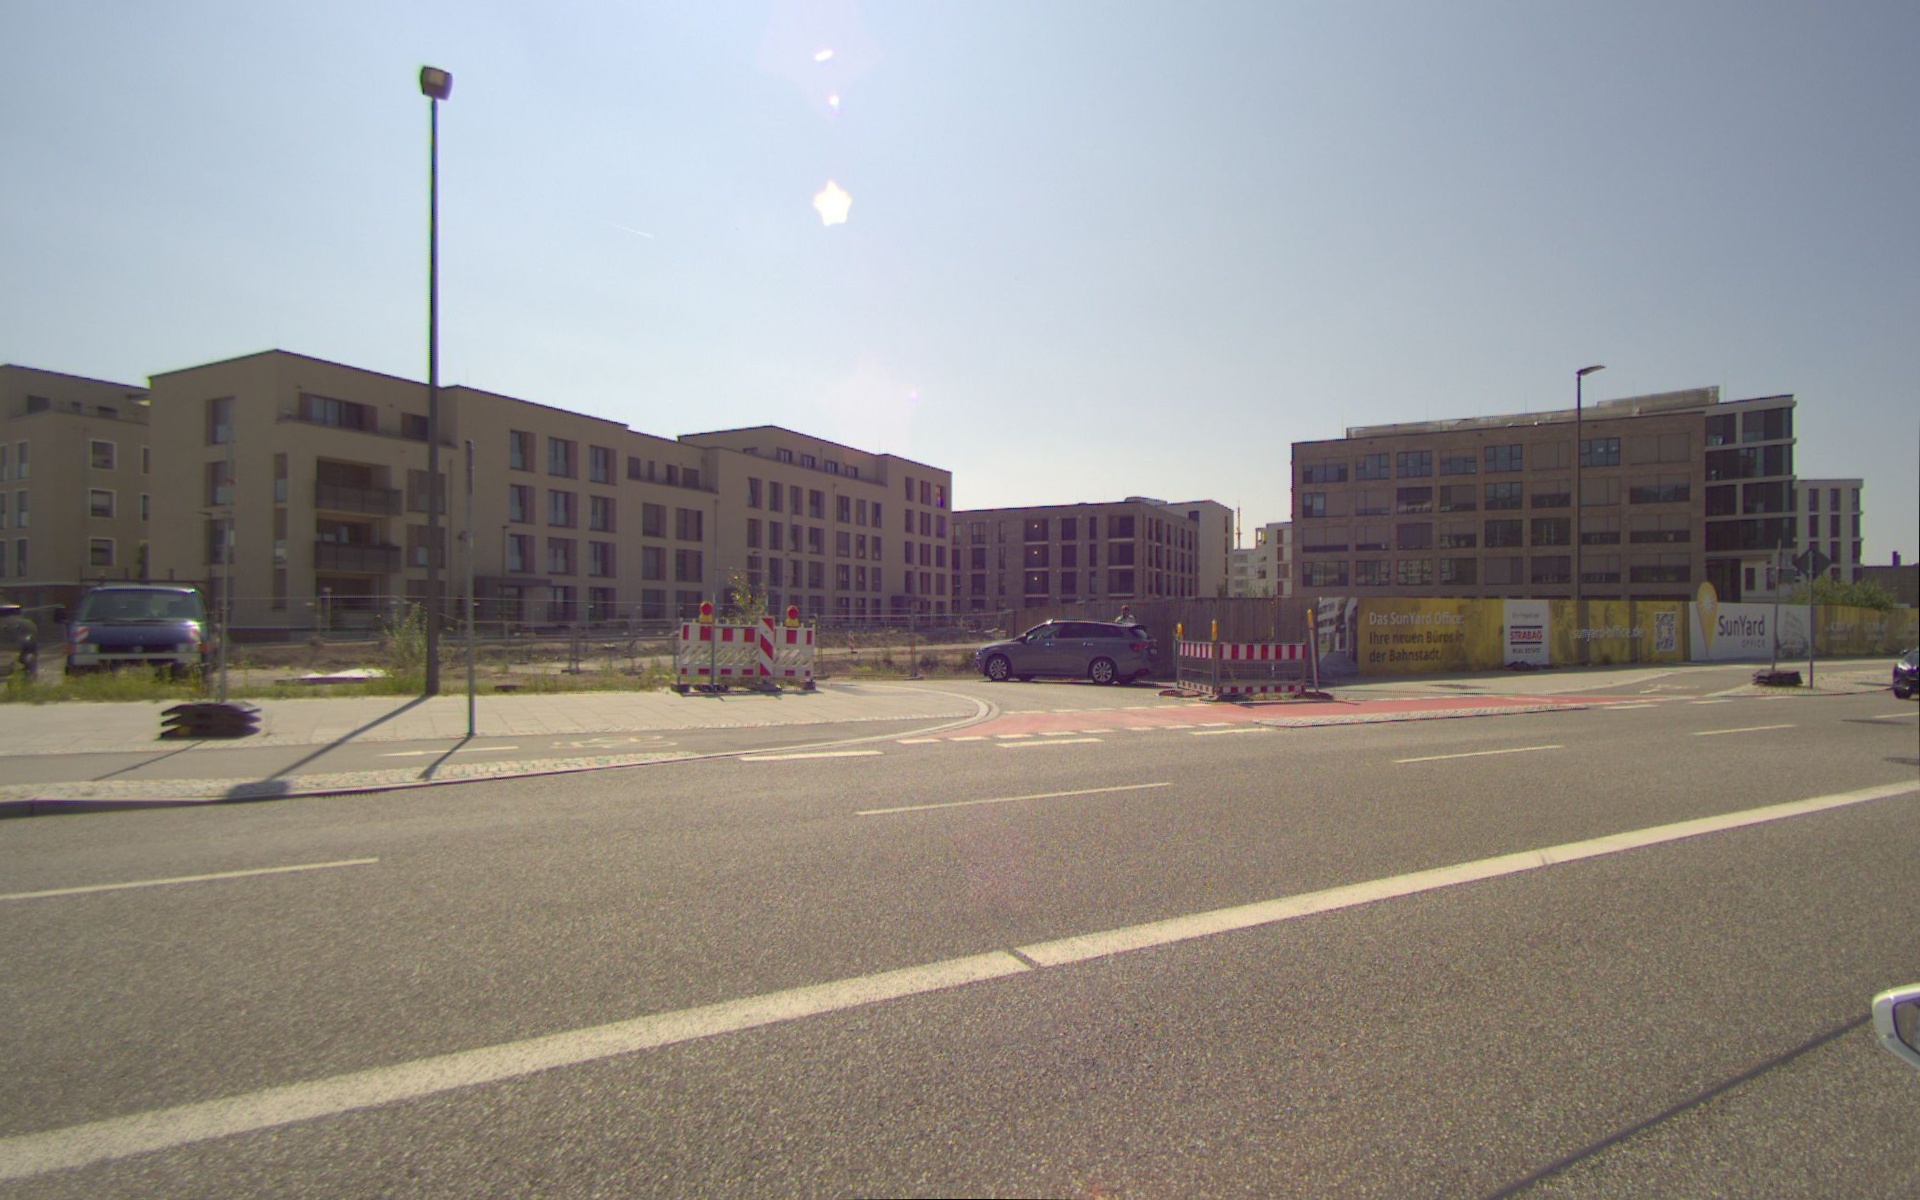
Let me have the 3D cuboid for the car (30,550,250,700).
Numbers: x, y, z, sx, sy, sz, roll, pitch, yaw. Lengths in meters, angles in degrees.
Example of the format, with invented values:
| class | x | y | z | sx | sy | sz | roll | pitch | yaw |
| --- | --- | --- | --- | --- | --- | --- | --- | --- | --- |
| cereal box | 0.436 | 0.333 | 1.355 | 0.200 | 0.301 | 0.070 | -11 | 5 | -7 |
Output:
| class | x | y | z | sx | sy | sz | roll | pitch | yaw |
| --- | --- | --- | --- | --- | --- | --- | --- | --- | --- |
| car | -14.147 | 0.442 | 17.726 | 2.369 | 2.202 | 5.412 | 1 | -2 | -33 |

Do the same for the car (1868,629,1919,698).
| class | x | y | z | sx | sy | sz | roll | pitch | yaw |
| --- | --- | --- | --- | --- | --- | --- | --- | --- | --- |
| car | 20.945 | 1.303 | 20.991 | 4.404 | 1.370 | 1.696 | 1 | -2 | -30 |

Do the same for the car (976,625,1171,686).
| class | x | y | z | sx | sy | sz | roll | pitch | yaw |
| --- | --- | --- | --- | --- | --- | --- | --- | --- | --- |
| car | 2.686 | 1.268 | 23.701 | 4.168 | 1.335 | 1.998 | -1 | -1 | 25 |

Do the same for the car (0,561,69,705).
| class | x | y | z | sx | sy | sz | roll | pitch | yaw |
| --- | --- | --- | --- | --- | --- | --- | --- | --- | --- |
| car | -16.484 | 0.524 | 16.048 | 2.369 | 2.194 | 5.851 | 1 | -2 | -32 |

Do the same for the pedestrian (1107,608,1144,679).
| class | x | y | z | sx | sy | sz | roll | pitch | yaw |
| --- | --- | --- | --- | --- | --- | --- | --- | --- | --- |
| pedestrian | 4.061 | 1.057 | 24.746 | 0.741 | 1.706 | 0.687 | 2 | 0 | -1 |
